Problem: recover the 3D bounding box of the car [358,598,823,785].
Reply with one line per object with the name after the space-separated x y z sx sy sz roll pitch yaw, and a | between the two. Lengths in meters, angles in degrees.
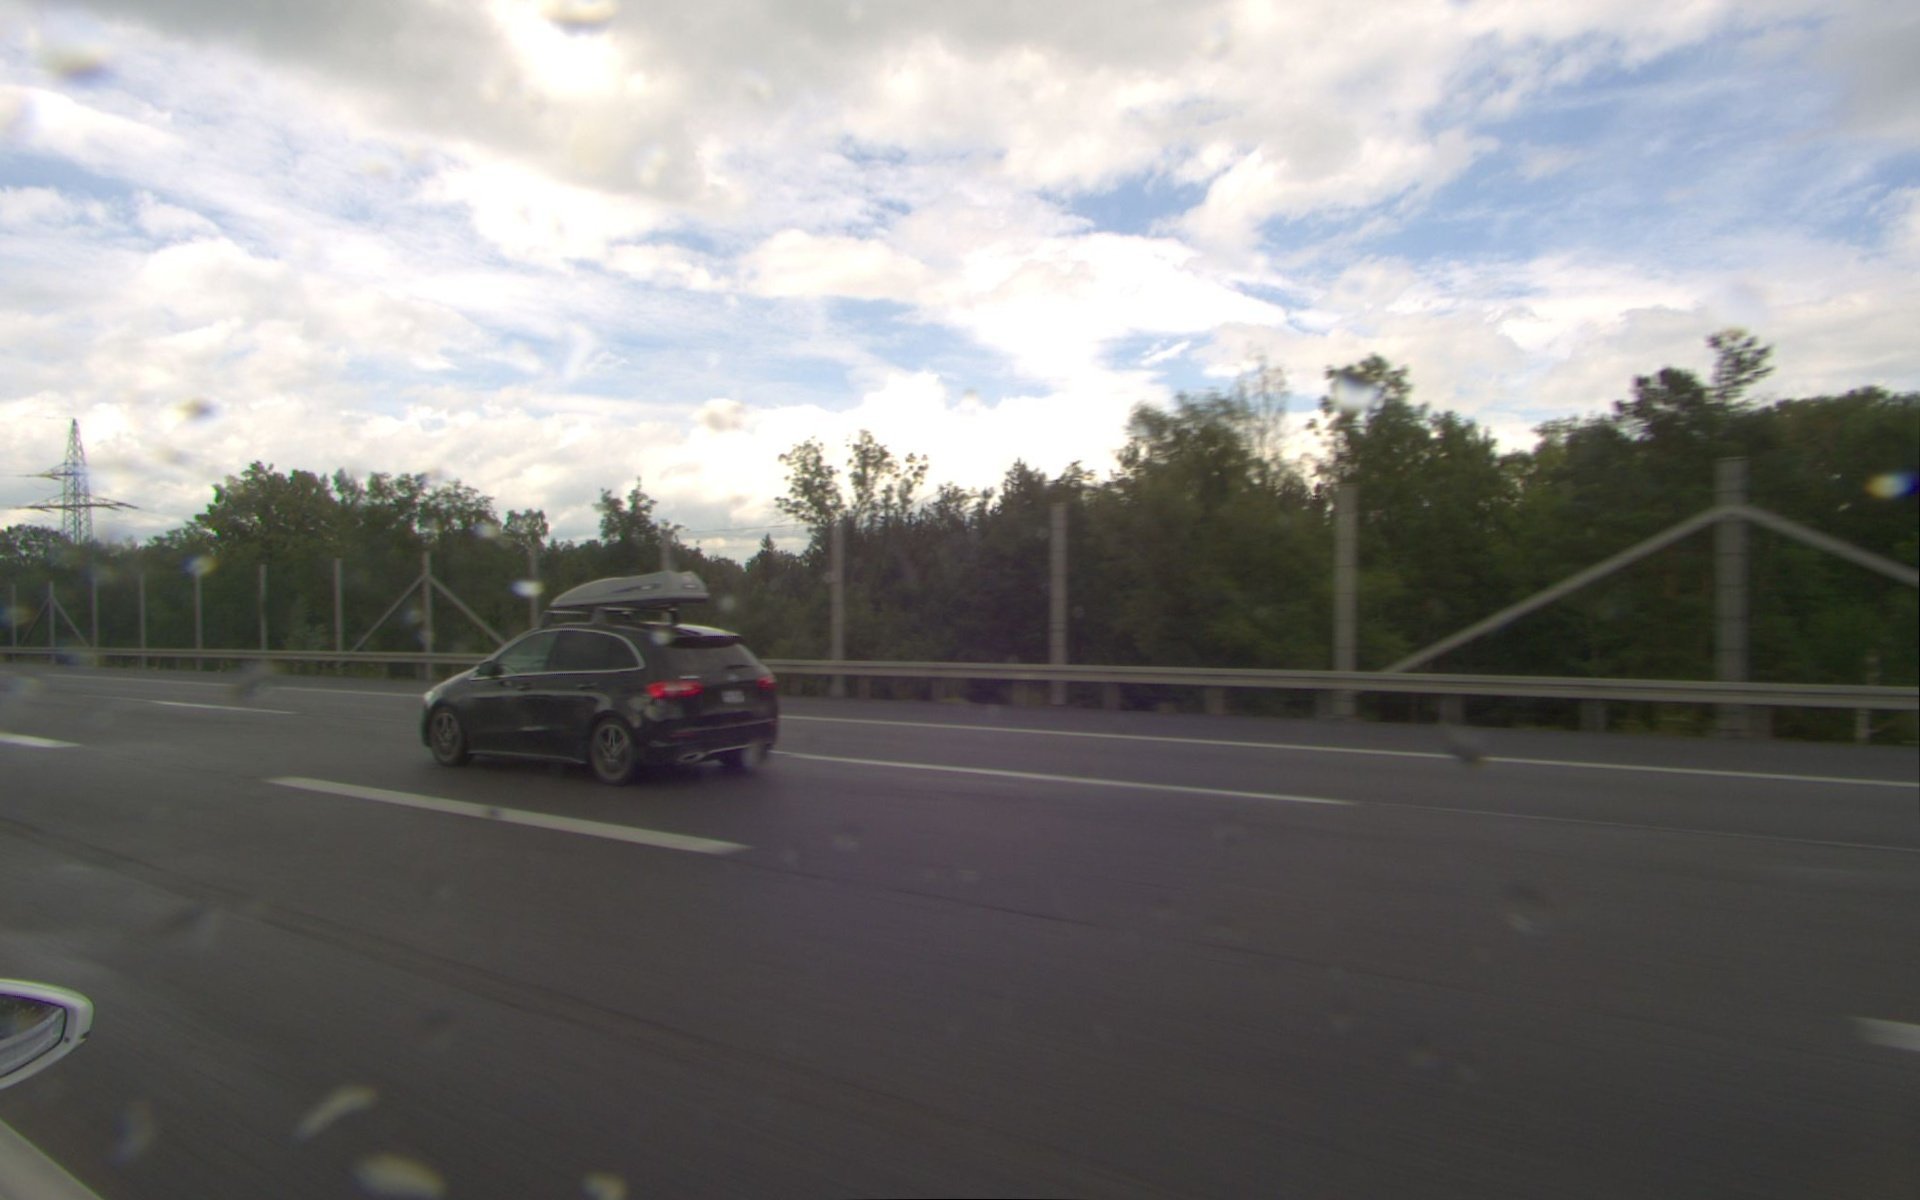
-4.113 0.845 10.919 4.990 1.626 2.102 -1 -1 31 | car
